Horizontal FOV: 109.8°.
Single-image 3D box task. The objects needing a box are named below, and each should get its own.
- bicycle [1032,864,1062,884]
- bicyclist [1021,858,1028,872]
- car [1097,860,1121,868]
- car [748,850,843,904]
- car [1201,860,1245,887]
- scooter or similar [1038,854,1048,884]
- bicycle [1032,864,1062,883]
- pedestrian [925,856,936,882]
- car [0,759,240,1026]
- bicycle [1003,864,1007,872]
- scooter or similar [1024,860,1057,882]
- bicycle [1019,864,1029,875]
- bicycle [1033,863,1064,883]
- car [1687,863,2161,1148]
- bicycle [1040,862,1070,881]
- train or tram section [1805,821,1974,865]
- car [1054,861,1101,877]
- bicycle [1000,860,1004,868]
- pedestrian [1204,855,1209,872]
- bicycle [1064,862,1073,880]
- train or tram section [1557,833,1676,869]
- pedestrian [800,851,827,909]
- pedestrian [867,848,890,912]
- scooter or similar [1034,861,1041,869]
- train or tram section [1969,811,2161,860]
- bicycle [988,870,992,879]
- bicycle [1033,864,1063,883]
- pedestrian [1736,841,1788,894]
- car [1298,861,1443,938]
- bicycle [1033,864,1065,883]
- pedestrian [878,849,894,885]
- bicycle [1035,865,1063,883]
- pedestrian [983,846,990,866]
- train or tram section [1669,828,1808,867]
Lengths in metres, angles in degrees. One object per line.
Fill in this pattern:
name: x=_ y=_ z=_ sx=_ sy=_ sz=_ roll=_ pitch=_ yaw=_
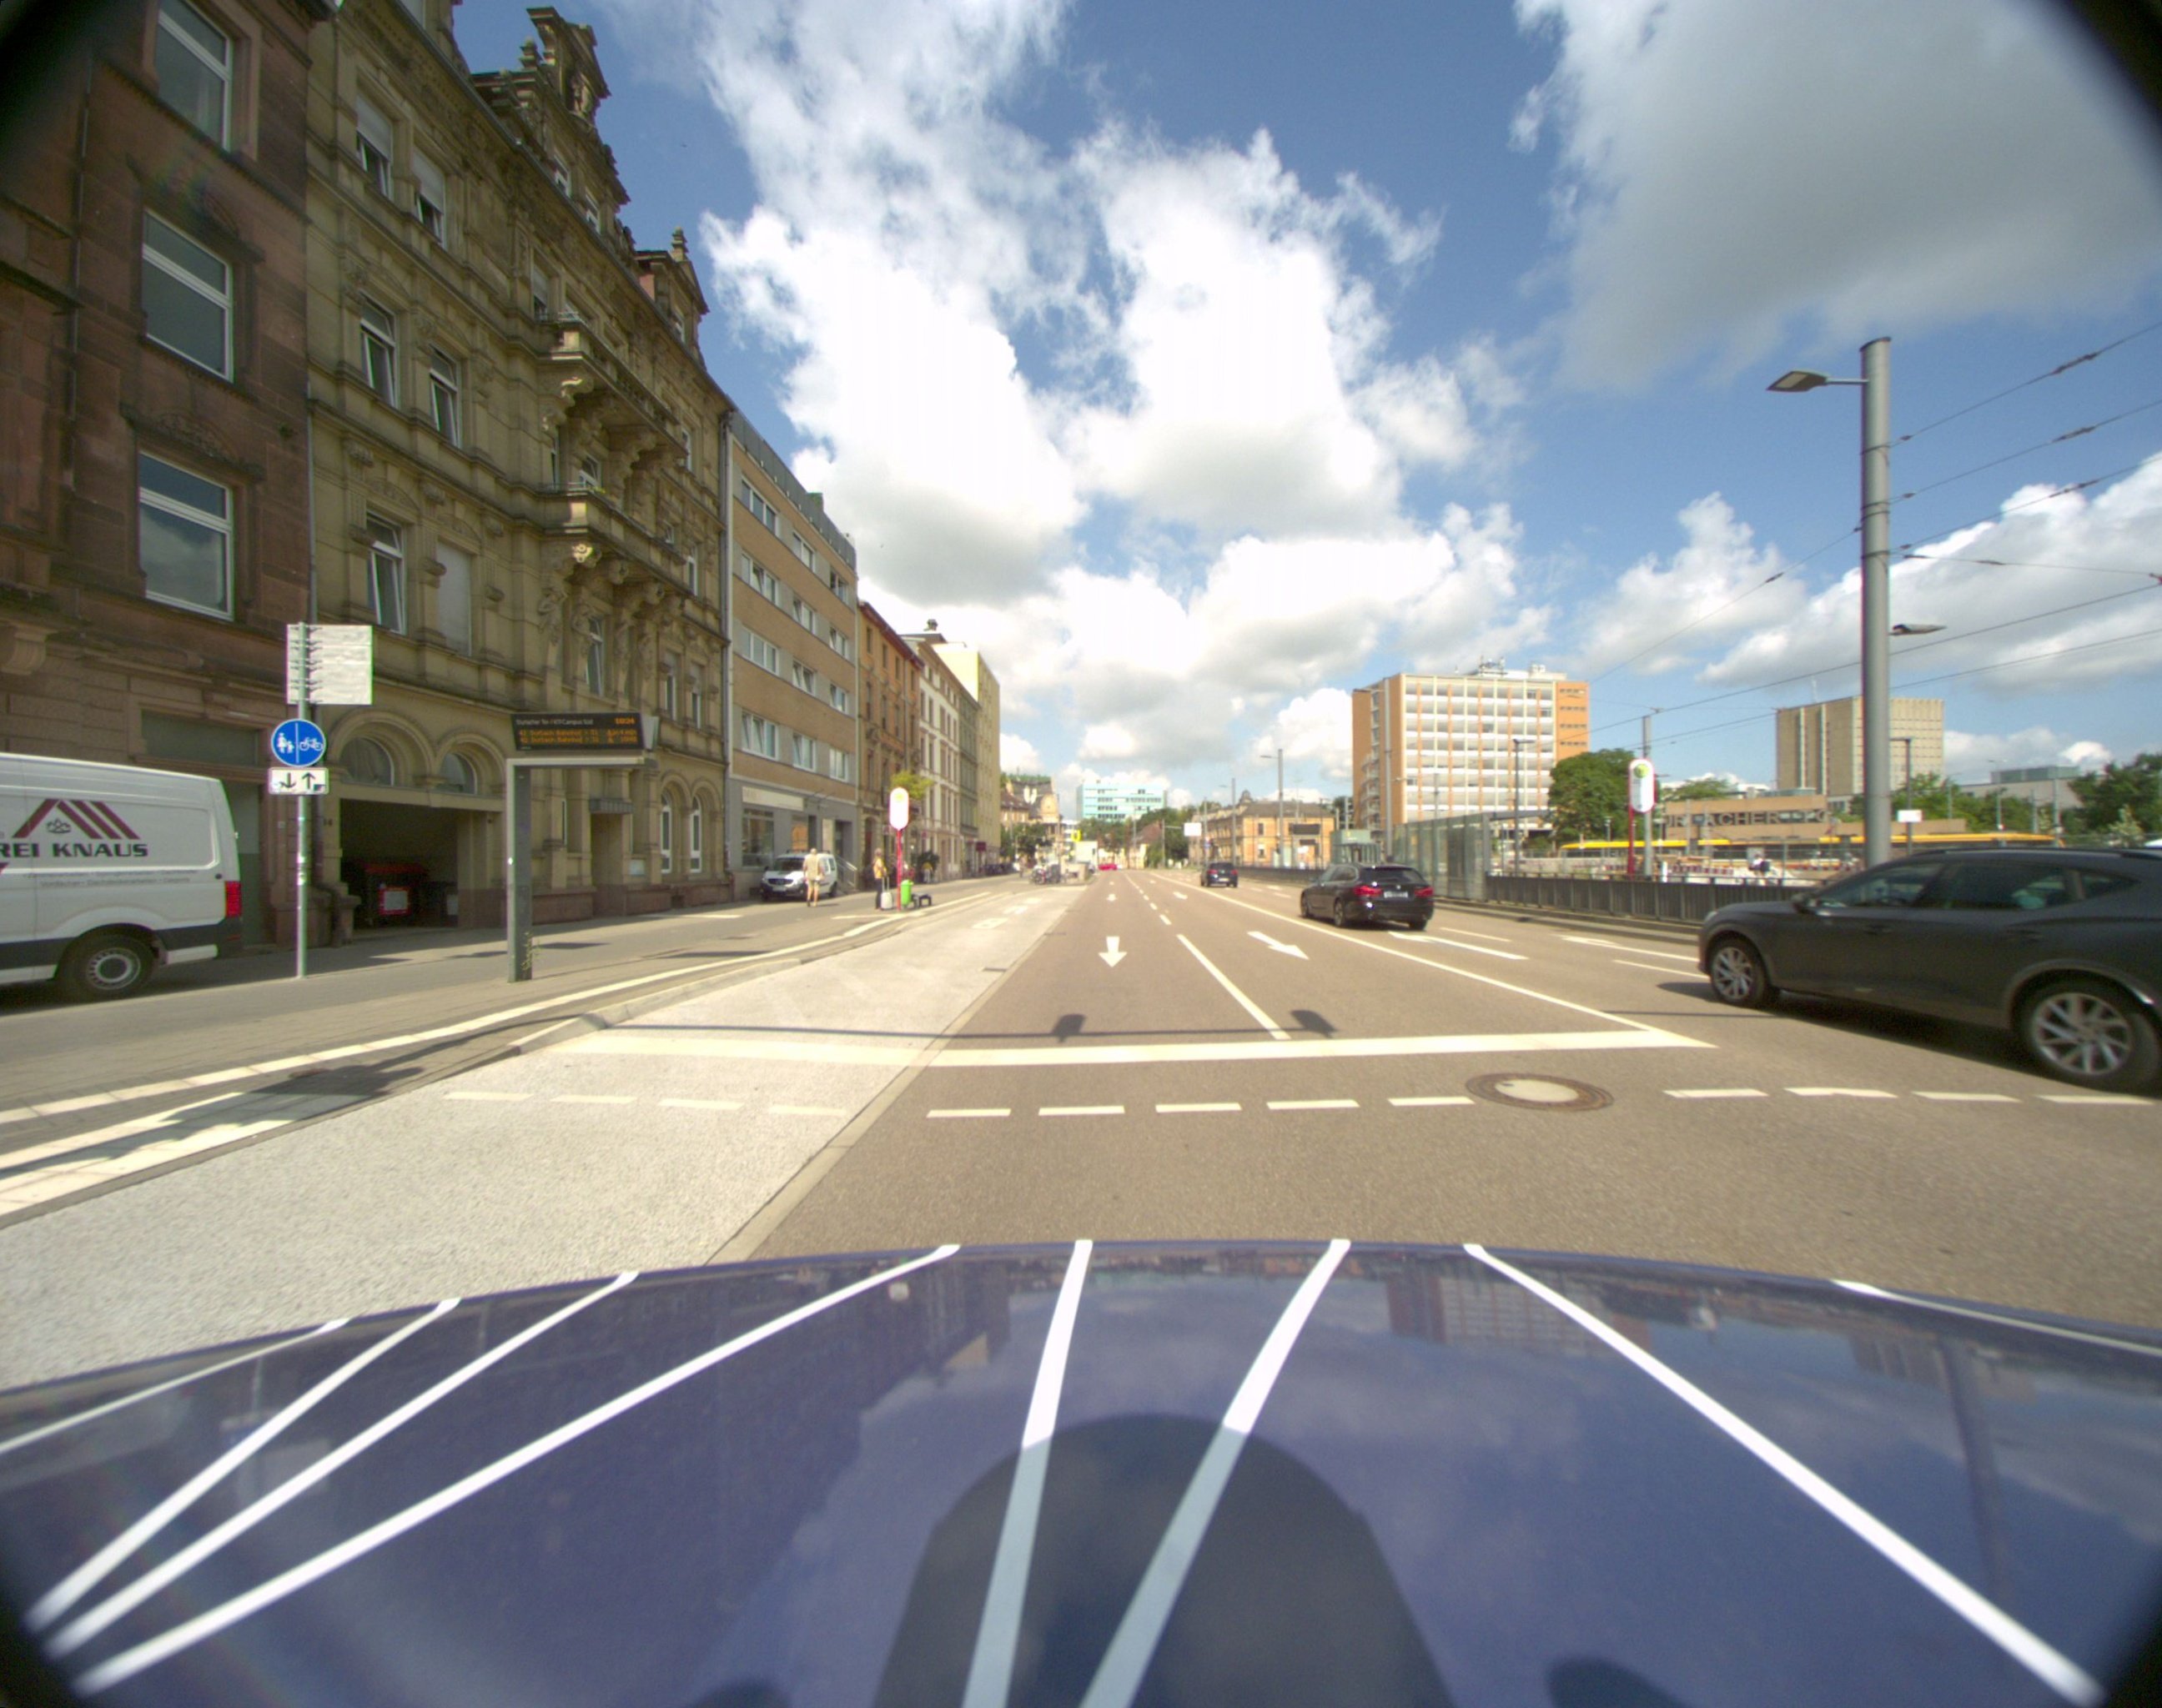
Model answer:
bicycle: x=-2.197 y=1.292 z=49.218 sx=1.930 sy=1.230 sz=0.441 roll=0 pitch=-2 yaw=-5
bicyclist: x=-5.724 y=1.117 z=77.416 sx=0.655 sy=1.428 sz=0.743 roll=0 pitch=0 yaw=3
car: x=5.295 y=1.947 z=143.457 sx=4.057 sy=1.458 sz=1.649 roll=-1 pitch=-3 yaw=17
car: x=-10.633 y=0.794 z=28.744 sx=1.999 sy=1.851 sz=4.751 roll=0 pitch=0 yaw=-3
car: x=7.885 y=1.078 z=42.512 sx=1.920 sy=1.409 sz=3.742 roll=0 pitch=0 yaw=3
scooter or similar: x=-2.302 y=0.891 z=46.342 sx=0.398 sy=1.776 sz=1.538 roll=0 pitch=0 yaw=6
bicycle: x=-2.222 y=1.275 z=49.802 sx=1.930 sy=1.230 sz=0.441 roll=0 pitch=-2 yaw=-8
pedestrian: x=-9.938 y=0.992 z=50.127 sx=0.580 sy=1.687 sz=0.613 roll=-1 pitch=-2 yaw=3
car: x=-11.224 y=0.360 z=6.203 sx=1.998 sy=2.510 sz=5.890 roll=-1 pitch=-1 yaw=3
bicycle: x=-8.584 y=1.588 z=85.760 sx=0.293 sy=0.917 sz=1.465 roll=0 pitch=-1 yaw=3
scooter or similar: x=-2.944 y=1.253 z=55.541 sx=2.329 sy=1.536 sz=0.698 roll=-1 pitch=-2 yaw=8
bicycle: x=-5.766 y=1.568 z=77.100 sx=0.663 sy=1.114 sz=2.332 roll=0 pitch=0 yaw=3
bicycle: x=-2.099 y=1.227 z=48.689 sx=1.930 sy=1.230 sz=0.441 roll=0 pitch=-2 yaw=-7
car: x=6.940 y=0.857 z=5.507 sx=1.803 sy=1.543 sz=4.296 roll=0 pitch=0 yaw=3
bicycle: x=-1.747 y=1.182 z=51.035 sx=1.930 sy=1.230 sz=0.441 roll=0 pitch=-2 yaw=-10
train or tram section: x=75.488 y=-0.892 z=71.338 sx=3.332 sy=3.458 sz=10.580 roll=2 pitch=-3 yaw=-44
car: x=-0.359 y=1.525 z=78.908 sx=4.605 sy=1.637 sz=2.056 roll=0 pitch=0 yaw=-40
bicycle: x=-8.750 y=1.114 z=83.798 sx=0.293 sy=0.917 sz=1.465 roll=-1 pitch=-2 yaw=0
pedestrian: x=15.279 y=1.138 z=92.538 sx=0.503 sy=2.002 sz=0.515 roll=0 pitch=0 yaw=-9
bicycle: x=-0.896 y=1.202 z=53.380 sx=0.441 sy=1.230 sz=1.930 roll=0 pitch=-3 yaw=-5
train or tram section: x=60.812 y=-0.230 z=86.547 sx=3.332 sy=3.458 sz=10.580 roll=2 pitch=-3 yaw=-44
pedestrian: x=-8.637 y=0.830 z=24.550 sx=0.664 sy=1.826 sz=0.694 roll=0 pitch=0 yaw=-4
pedestrian: x=-6.090 y=0.776 z=22.833 sx=0.665 sy=1.892 sz=0.693 roll=0 pitch=0 yaw=-16
scooter or similar: x=-6.772 y=1.680 z=118.768 sx=1.067 sy=1.189 sz=0.381 roll=1 pitch=-3 yaw=-34
train or tram section: x=82.812 y=-1.445 z=63.678 sx=3.332 sy=3.458 sz=10.580 roll=2 pitch=-3 yaw=-44
bicycle: x=-9.728 y=2.158 z=81.290 sx=0.293 sy=0.917 sz=1.464 roll=-1 pitch=-1 yaw=0
bicycle: x=-2.172 y=1.286 z=50.350 sx=1.930 sy=1.230 sz=0.441 roll=0 pitch=-2 yaw=-8
pedestrian: x=25.883 y=0.510 z=28.912 sx=1.068 sy=2.002 sz=1.051 roll=0 pitch=0 yaw=6
car: x=6.488 y=0.944 z=17.615 sx=1.822 sy=1.543 sz=4.561 roll=0 pitch=0 yaw=3
bicycle: x=-2.023 y=1.242 z=48.183 sx=1.985 sy=1.230 sz=0.441 roll=0 pitch=-2 yaw=-9
pedestrian: x=-11.340 y=0.752 z=44.142 sx=0.723 sy=2.086 sz=0.787 roll=-1 pitch=-2 yaw=3
bicycle: x=-2.229 y=1.366 z=52.690 sx=1.928 sy=1.230 sz=0.441 roll=-1 pitch=-2 yaw=4
pedestrian: x=-9.657 y=0.212 z=77.807 sx=0.603 sy=2.001 sz=0.460 roll=-1 pitch=-2 yaw=3
train or tram section: x=68.122 y=-0.581 z=79.022 sx=3.332 sy=3.458 sz=10.580 roll=2 pitch=-3 yaw=-44
